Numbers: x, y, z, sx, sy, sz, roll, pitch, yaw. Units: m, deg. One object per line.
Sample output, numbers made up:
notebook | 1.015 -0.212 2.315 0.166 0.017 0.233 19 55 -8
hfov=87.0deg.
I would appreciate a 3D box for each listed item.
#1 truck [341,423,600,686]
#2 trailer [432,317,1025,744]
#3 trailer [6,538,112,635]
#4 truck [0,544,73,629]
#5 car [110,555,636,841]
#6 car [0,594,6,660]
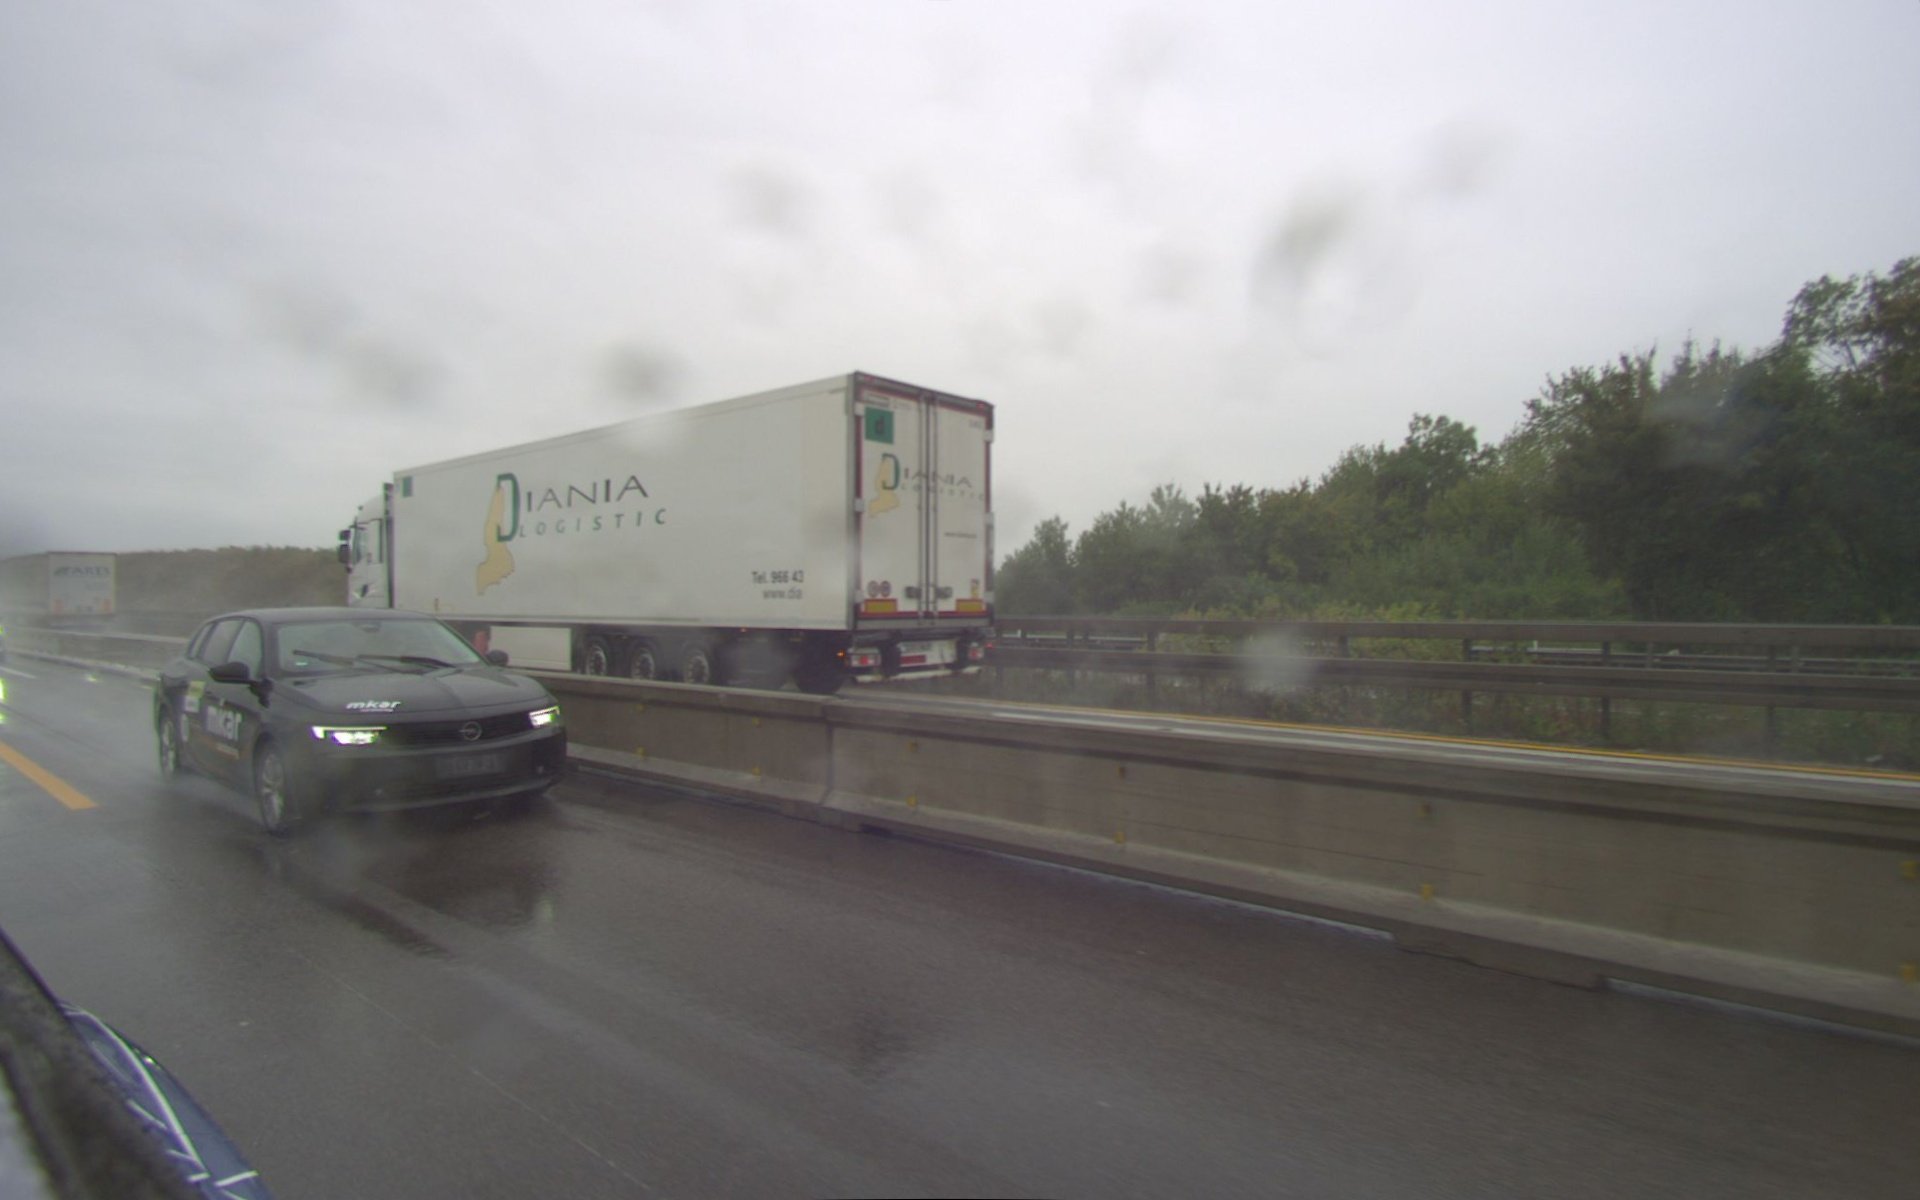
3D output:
truck | -10.274 -0.844 20.932 6.449 4.638 2.533 1 1 41
trailer | -4.507 -0.816 15.872 12.004 4.623 2.521 1 1 41
trailer | -45.810 -0.672 51.297 11.188 4.476 2.459 1 1 40
truck | -51.741 -0.751 56.378 6.876 4.496 2.477 1 1 40
car | -4.677 0.565 7.711 4.791 1.539 1.920 -1 -1 39
car | -26.894 0.696 26.752 3.996 1.693 1.947 1 1 39
